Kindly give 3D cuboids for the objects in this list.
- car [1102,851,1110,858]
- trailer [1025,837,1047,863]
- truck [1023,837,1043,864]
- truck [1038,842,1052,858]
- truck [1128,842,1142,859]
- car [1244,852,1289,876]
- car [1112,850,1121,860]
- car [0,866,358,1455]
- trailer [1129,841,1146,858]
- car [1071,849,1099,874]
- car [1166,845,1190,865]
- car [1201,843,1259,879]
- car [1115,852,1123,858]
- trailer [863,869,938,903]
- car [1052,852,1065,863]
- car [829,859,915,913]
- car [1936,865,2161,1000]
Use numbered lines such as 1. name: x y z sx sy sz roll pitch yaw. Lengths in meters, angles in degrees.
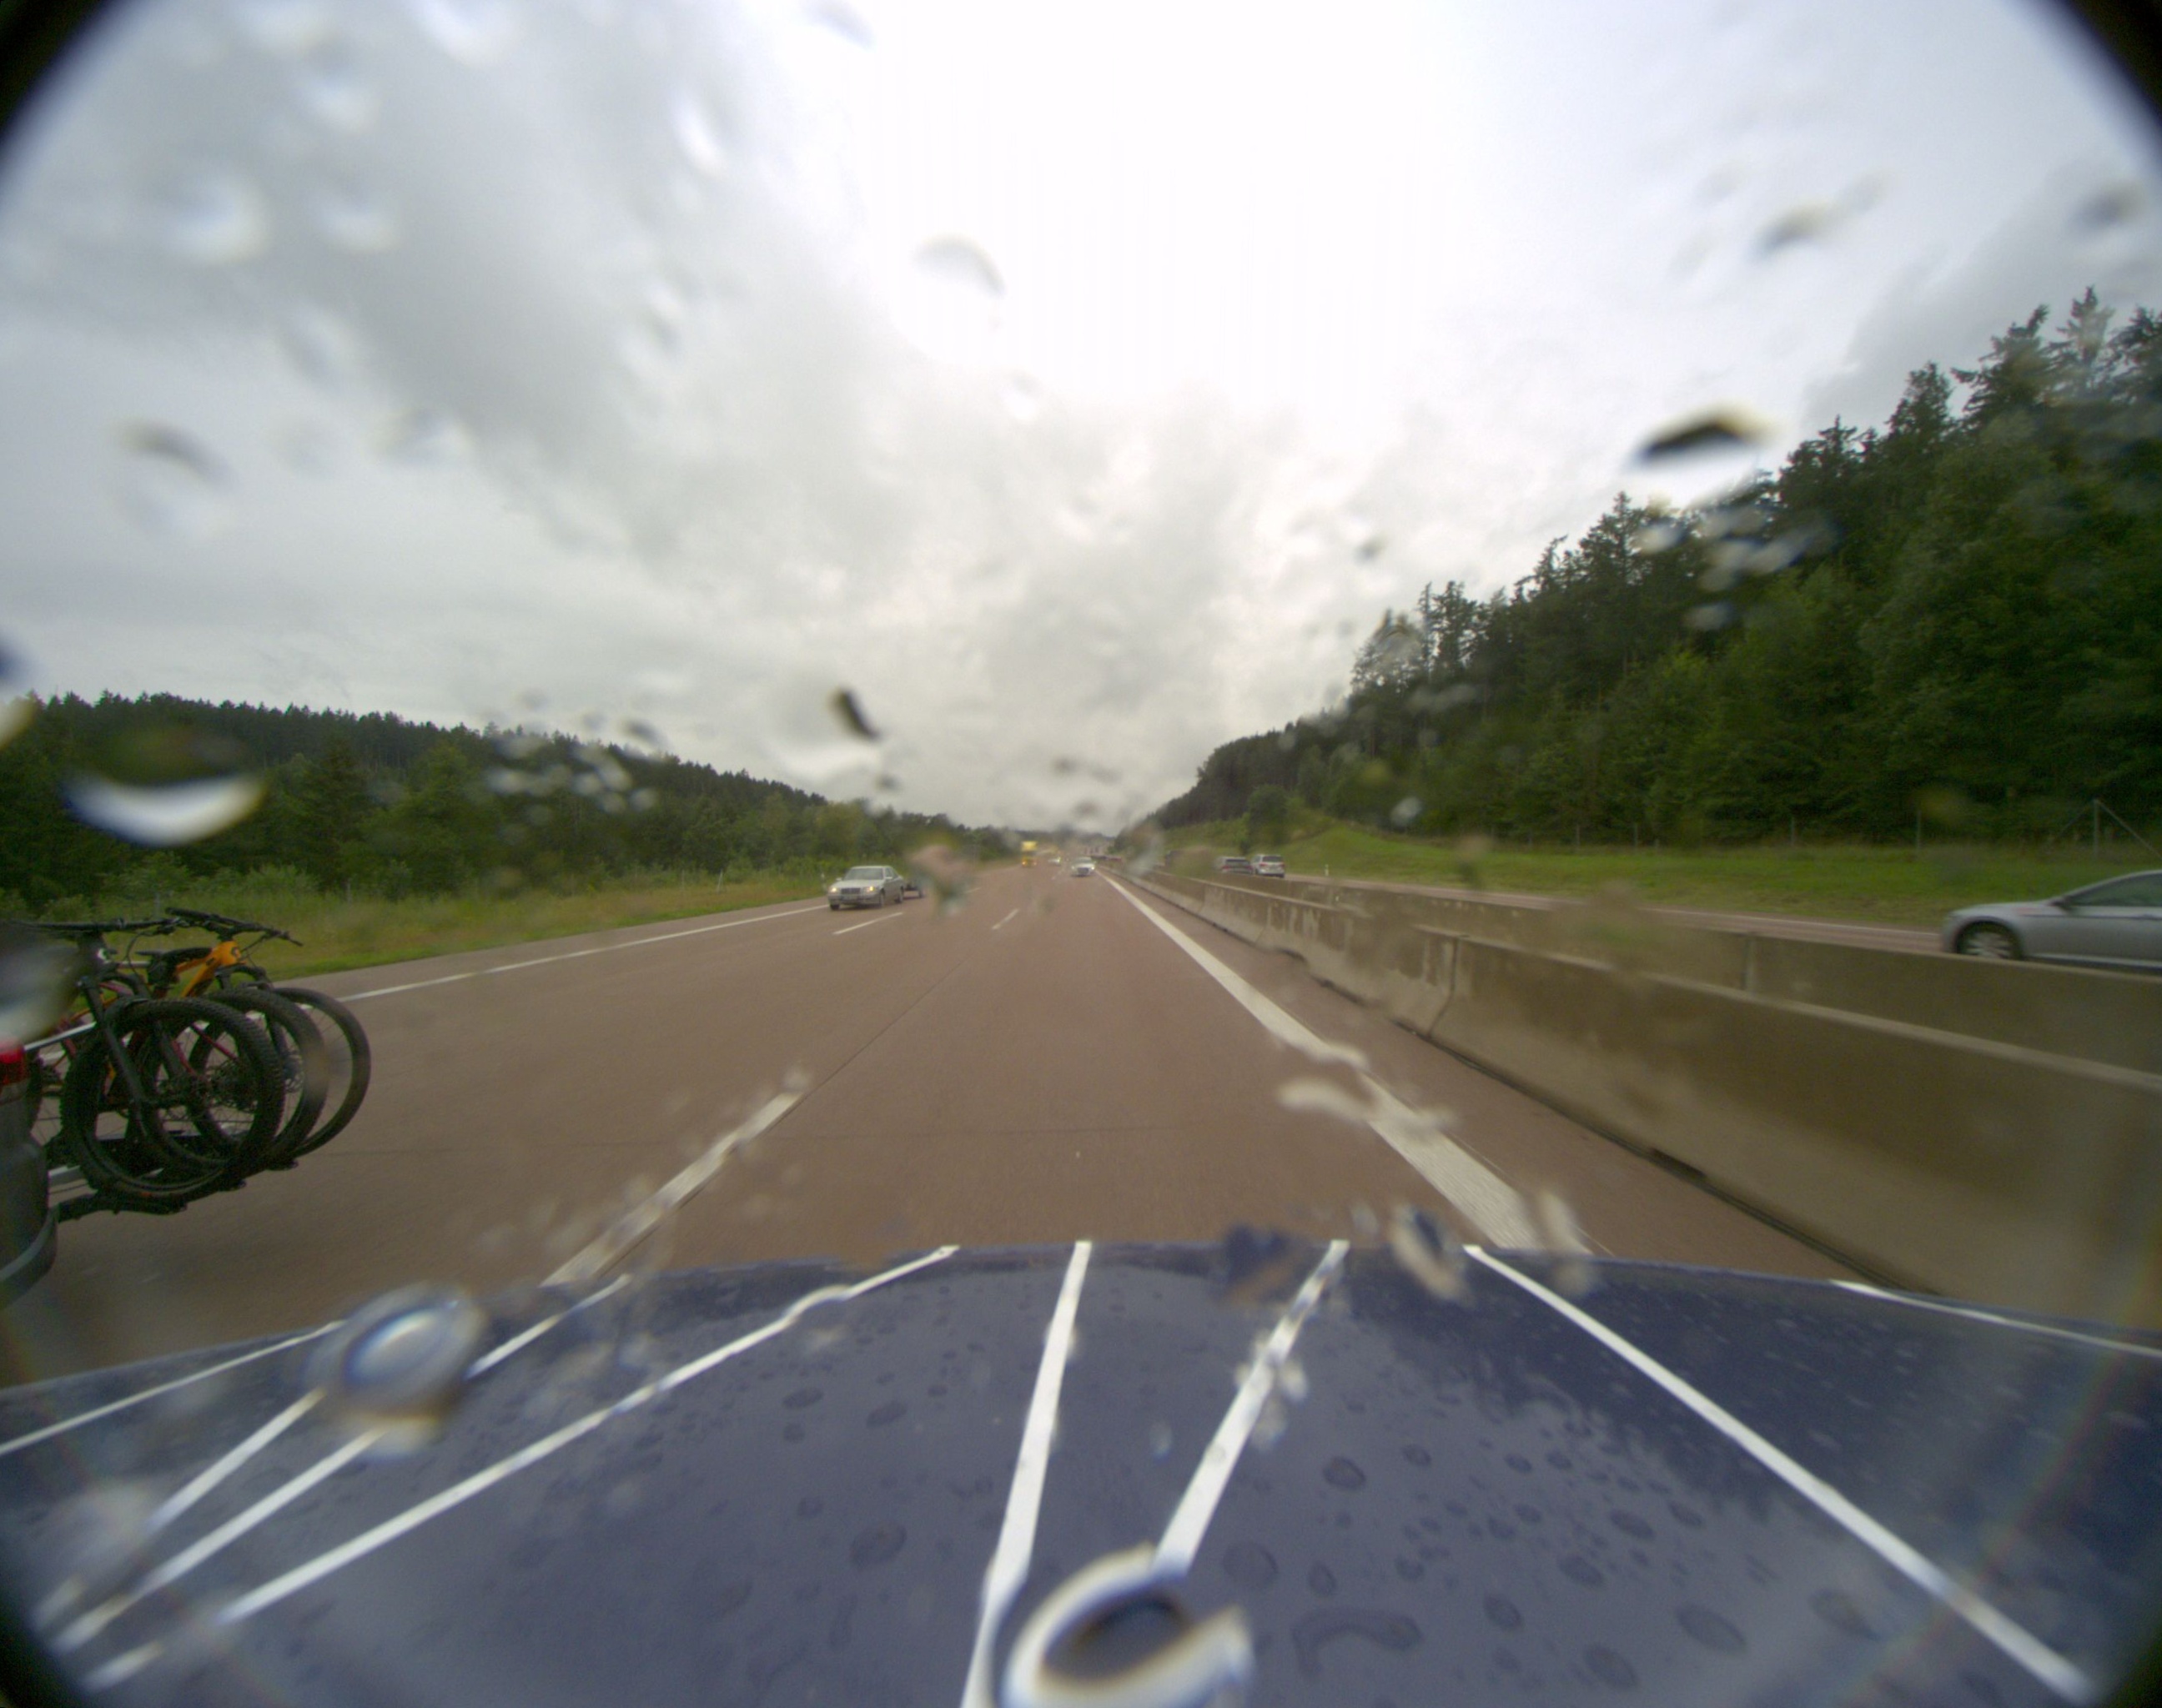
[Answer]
1. car: 6.759 0.158 205.374 1.823 1.831 6.235 -2 1 -1
2. trailer: -7.640 -0.842 130.767 2.572 4.204 14.076 -2 1 0
3. truck: -7.679 -0.652 121.860 2.610 4.190 6.248 -2 2 0
4. truck: -10.531 -1.288 224.715 3.190 4.349 14.700 -2 1 0
5. truck: 14.578 -0.977 207.062 2.972 4.294 7.648 2 -1 -1
6. car: 12.423 0.641 51.207 1.793 1.548 4.865 1 0 0
7. car: 7.693 0.203 166.393 1.781 1.846 5.320 -2 1 1
8. car: -4.043 0.951 0.184 1.998 1.583 5.819 -2 1 1
9. trailer: 14.771 -1.093 198.867 2.941 4.250 12.943 2 0 -1
10. car: 0.326 0.547 57.904 1.998 1.623 4.930 -2 1 0
11. car: 11.938 0.091 94.163 2.108 2.266 5.394 -2 1 -1
12. car: 8.016 0.287 41.480 1.862 1.697 6.162 -2 1 0
13. car: 10.025 0.224 199.981 1.823 1.361 5.114 -1 0 -2
14. trailer: -7.435 1.291 31.779 1.976 1.159 4.639 -2 0 0
15. car: -3.726 0.596 126.443 1.998 1.623 4.930 -2 1 0
16. car: -7.306 1.059 27.136 1.702 1.602 4.975 -1 1 -1
17. car: 12.185 0.861 7.654 1.653 1.381 4.810 2 0 0
